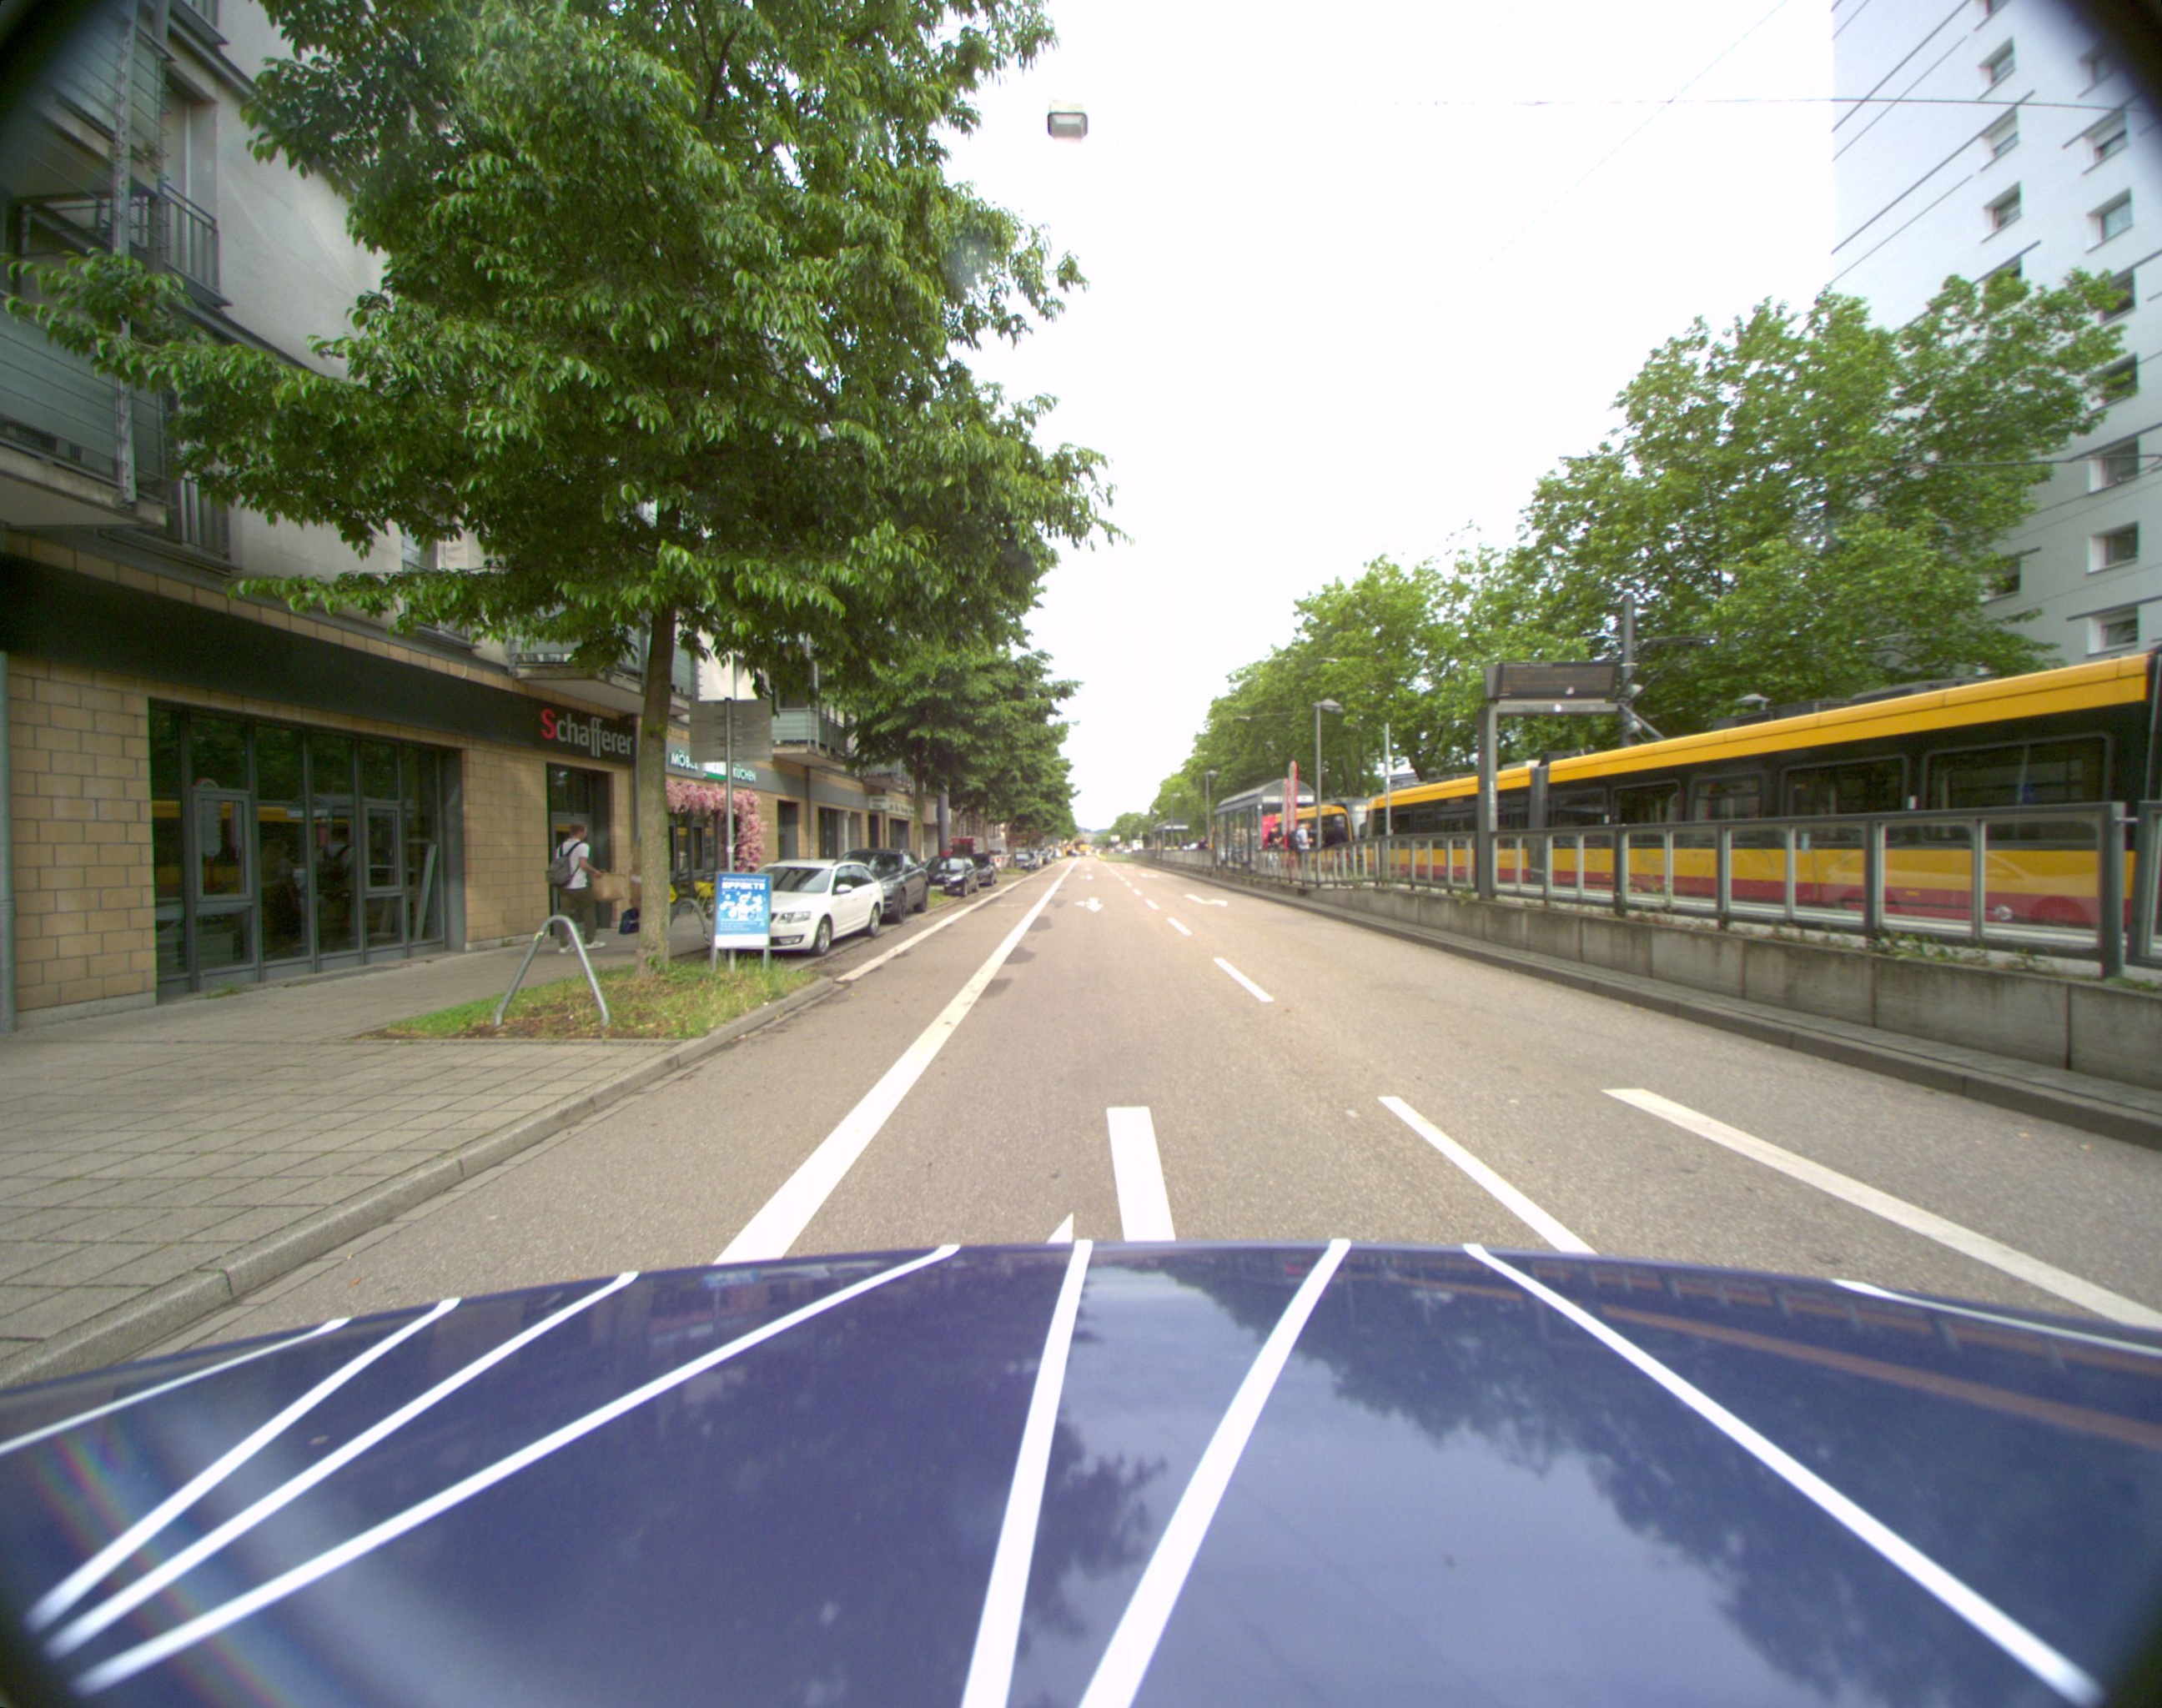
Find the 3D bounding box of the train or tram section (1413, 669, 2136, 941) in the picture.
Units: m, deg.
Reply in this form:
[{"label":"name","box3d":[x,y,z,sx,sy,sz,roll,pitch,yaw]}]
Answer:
[{"label":"train or tram section","box3d":[12.631,-0.766,17.801,3.067,3.511,15.292,-2,1,1]}]

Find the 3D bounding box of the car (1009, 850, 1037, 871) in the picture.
[{"label":"car","box3d":[-4.290,0.476,56.520,1.755,1.452,4.279,1,1,0]}]

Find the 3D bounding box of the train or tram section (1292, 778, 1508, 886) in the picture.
[{"label":"train or tram section","box3d":[12.829,-0.846,33.112,3.067,3.511,15.292,-2,1,1]}]

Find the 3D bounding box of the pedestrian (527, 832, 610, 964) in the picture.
[{"label":"pedestrian","box3d":[-7.522,0.629,11.177,0.676,1.880,0.737,0,1,2]}]

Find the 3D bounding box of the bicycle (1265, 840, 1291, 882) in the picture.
[{"label":"bicycle","box3d":[5.969,0.188,23.078,0.420,1.215,1.289,-2,1,0]}]

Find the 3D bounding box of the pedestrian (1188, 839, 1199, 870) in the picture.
[{"label":"pedestrian","box3d":[6.121,0.021,41.306,0.480,1.623,0.392,-2,1,2]}]

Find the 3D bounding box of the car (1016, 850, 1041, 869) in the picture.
[{"label":"car","box3d":[-4.305,0.444,62.568,1.755,1.452,4.279,1,1,0]}]

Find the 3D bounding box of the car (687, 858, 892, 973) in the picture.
[{"label":"car","box3d":[-4.706,0.889,13.007,1.680,1.490,4.389,2,1,2]}]

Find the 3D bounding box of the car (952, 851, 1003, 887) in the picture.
[{"label":"car","box3d":[-4.698,0.632,35.089,1.802,1.447,4.387,2,1,-1]}]

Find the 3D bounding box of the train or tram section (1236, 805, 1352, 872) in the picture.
[{"label":"train or tram section","box3d":[13.009,-0.958,48.636,3.067,3.511,15.769,-2,1,1]}]

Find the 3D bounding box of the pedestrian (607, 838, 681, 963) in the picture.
[{"label":"pedestrian","box3d":[-6.472,0.668,11.283,0.617,1.795,0.737,0,1,2]}]

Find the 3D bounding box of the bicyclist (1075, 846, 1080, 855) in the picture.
[{"label":"bicyclist","box3d":[-0.684,-0.674,149.415,0.751,1.777,0.838,-2,1,1]}]

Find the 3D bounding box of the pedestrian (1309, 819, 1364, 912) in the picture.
[{"label":"pedestrian","box3d":[5.669,0.241,16.861,0.756,2.002,0.816,-3,2,-36]}]

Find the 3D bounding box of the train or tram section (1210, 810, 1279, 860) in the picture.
[{"label":"train or tram section","box3d":[13.205,-1.509,62.783,3.100,3.541,12.537,-2,1,1]}]

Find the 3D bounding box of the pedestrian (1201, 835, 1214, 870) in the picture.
[{"label":"pedestrian","box3d":[6.058,-0.083,36.397,0.513,1.623,0.730,-2,1,2]}]

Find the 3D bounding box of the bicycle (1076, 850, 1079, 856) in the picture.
[{"label":"bicycle","box3d":[-0.693,-0.188,149.244,0.613,1.116,2.050,-2,1,1]}]

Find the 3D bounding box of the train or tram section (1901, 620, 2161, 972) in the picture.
[{"label":"train or tram section","box3d":[12.449,-0.550,2.242,3.067,3.568,15.846,-2,1,1]}]

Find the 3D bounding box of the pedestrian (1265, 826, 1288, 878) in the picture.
[{"label":"pedestrian","box3d":[6.232,-0.065,24.219,0.532,1.623,0.471,-2,1,-2]}]

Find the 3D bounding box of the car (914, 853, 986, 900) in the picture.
[{"label":"car","box3d":[-4.612,0.739,27.375,1.680,1.433,4.407,2,1,2]}]

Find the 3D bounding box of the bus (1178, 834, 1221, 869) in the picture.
[{"label":"bus","box3d":[7.312,-0.164,47.224,1.998,2.002,3.999,-2,1,1]}]

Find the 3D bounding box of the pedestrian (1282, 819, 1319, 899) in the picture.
[{"label":"pedestrian","box3d":[5.699,0.126,19.736,0.753,2.002,0.819,-2,2,24]}]

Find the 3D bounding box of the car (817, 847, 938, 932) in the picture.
[{"label":"car","box3d":[-4.744,0.731,18.421,1.716,1.707,4.710,2,1,-1]}]

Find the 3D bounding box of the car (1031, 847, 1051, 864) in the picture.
[{"label":"car","box3d":[-4.091,0.143,78.824,1.837,1.720,4.279,1,1,0]}]

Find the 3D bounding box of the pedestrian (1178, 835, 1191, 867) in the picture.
[{"label":"pedestrian","box3d":[6.602,-0.171,48.584,0.676,2.002,0.588,-2,1,-2]}]
